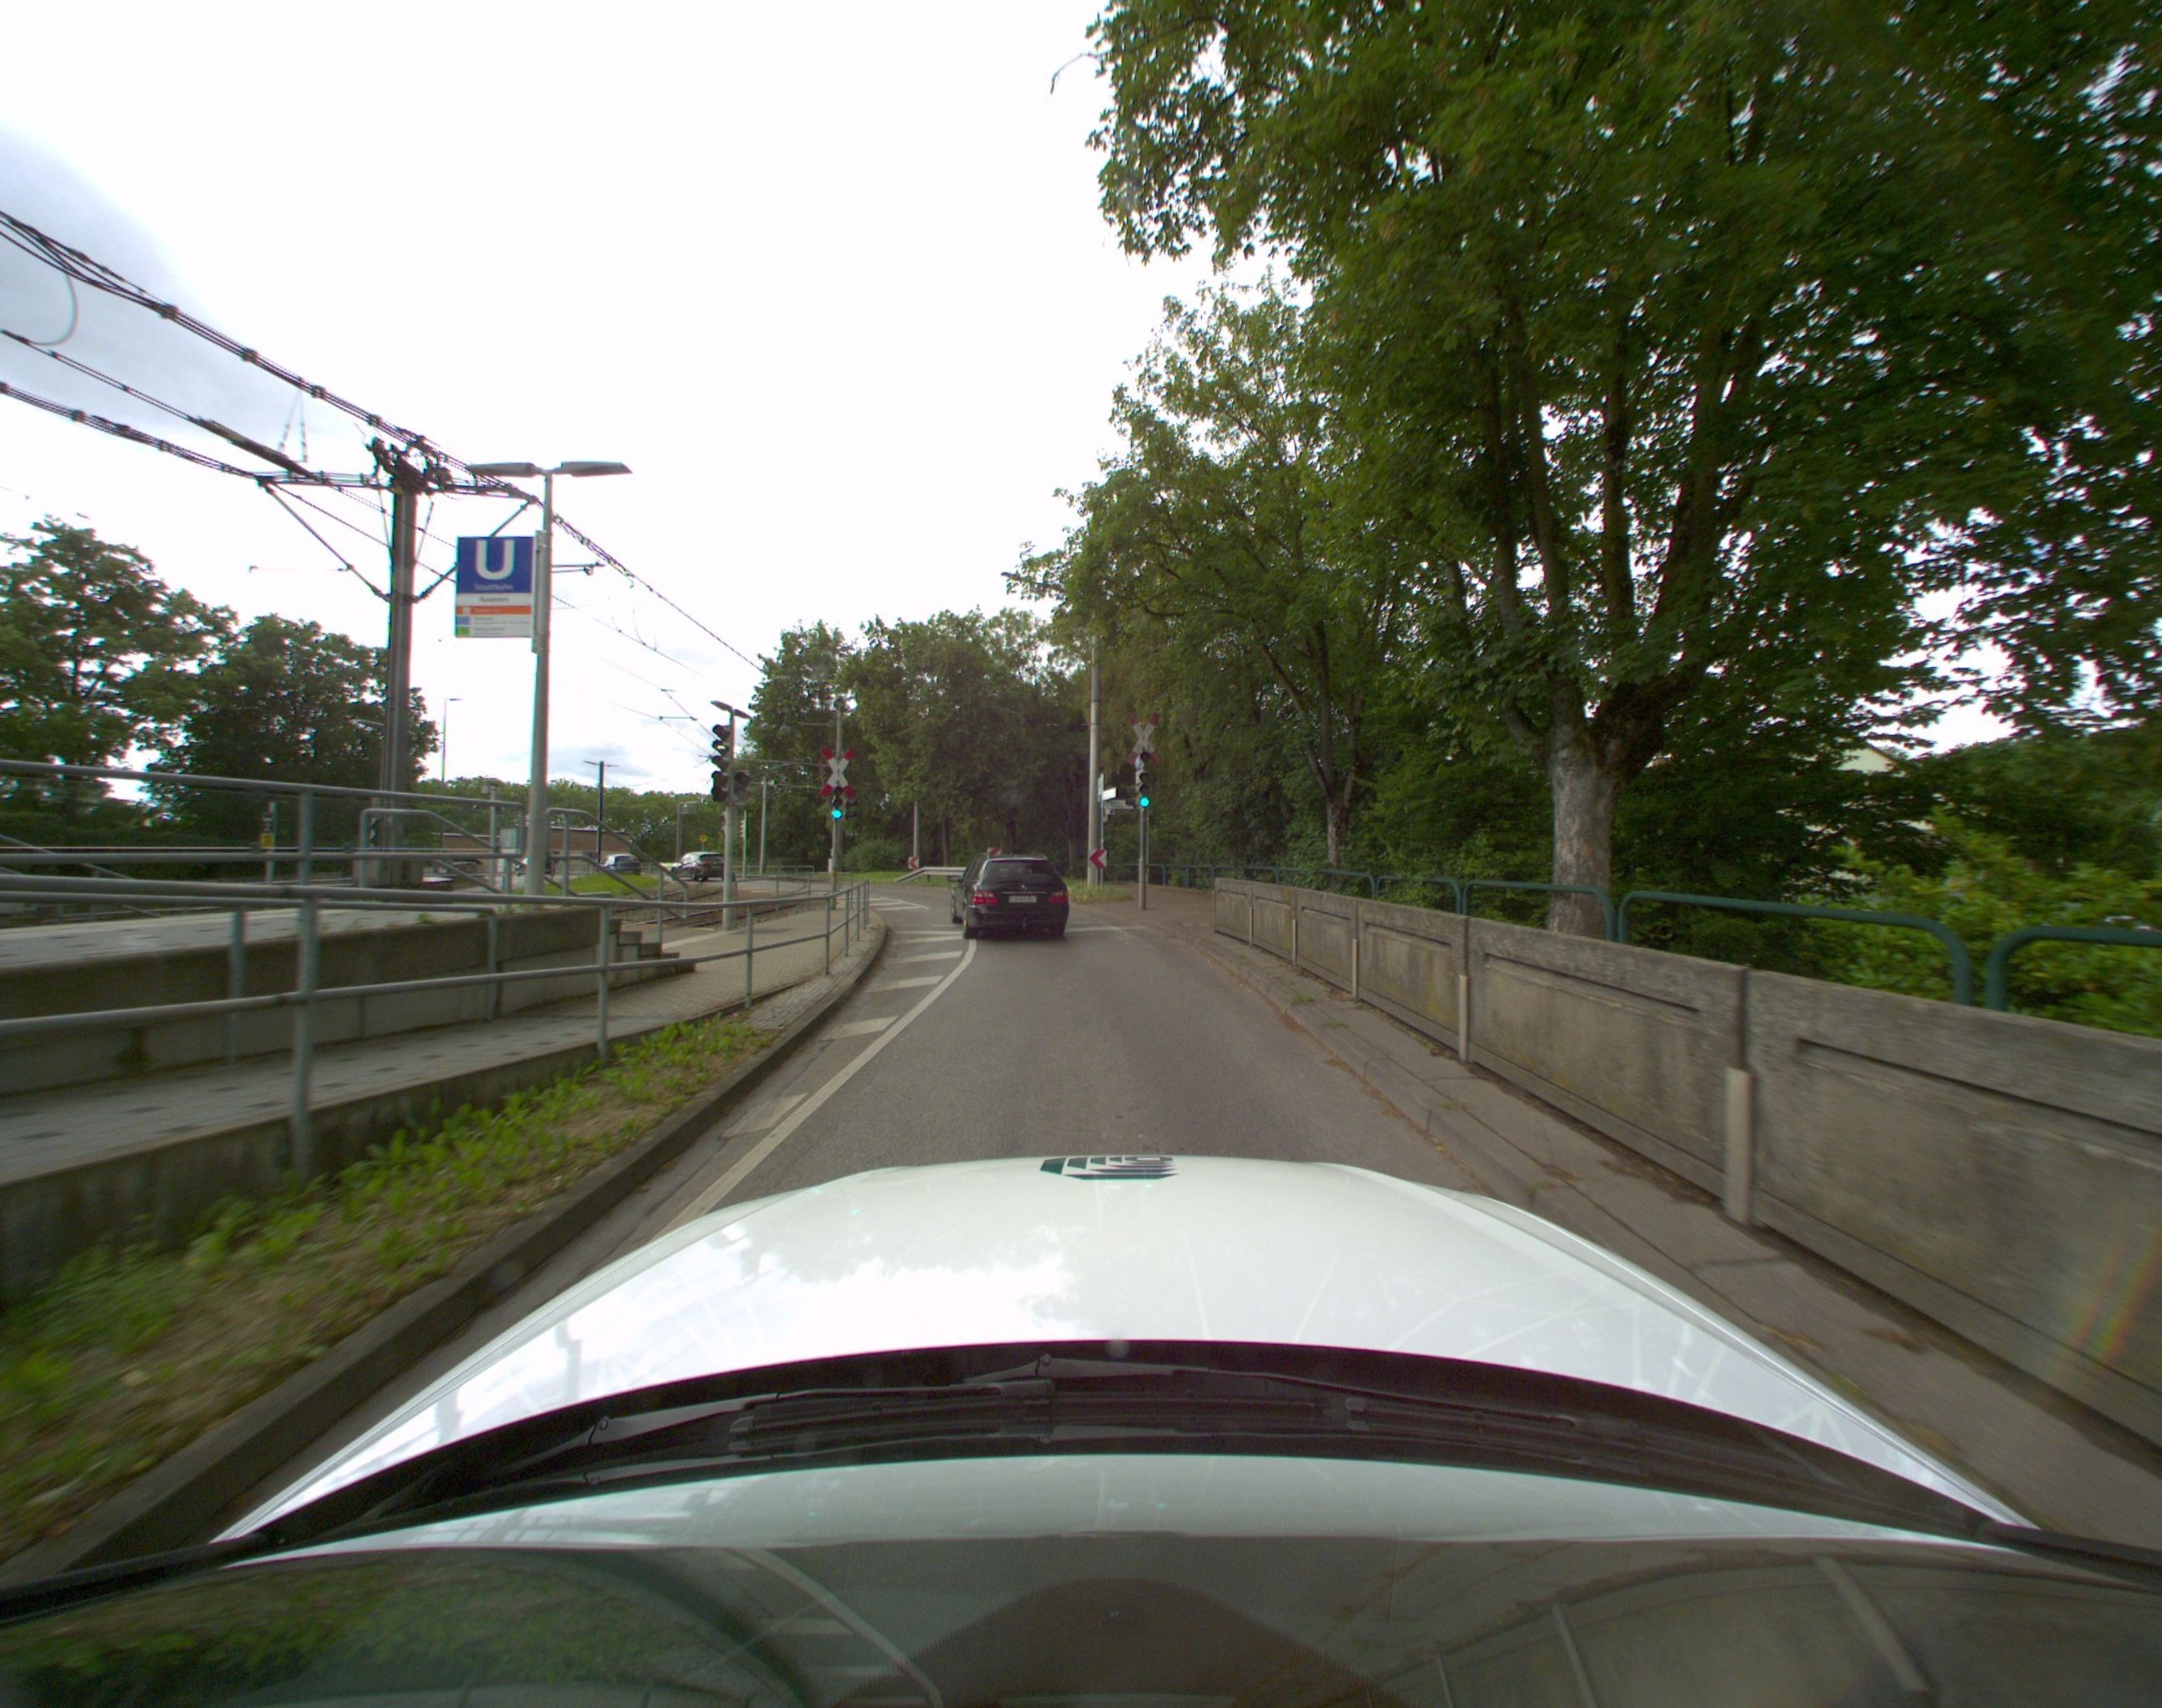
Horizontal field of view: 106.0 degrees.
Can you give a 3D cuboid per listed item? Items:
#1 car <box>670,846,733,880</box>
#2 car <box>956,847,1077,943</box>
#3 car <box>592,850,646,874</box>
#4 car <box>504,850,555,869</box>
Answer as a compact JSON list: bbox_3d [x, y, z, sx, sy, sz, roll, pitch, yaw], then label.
[{"bbox_3d":[-19.859,0.429,42.576,1.798,1.648,3.951,0,0,-44],"label":"car"},{"bbox_3d":[-1.359,0.647,15.529,1.783,1.525,3.983,-1,1,-12],"label":"car"},{"bbox_3d":[-29.031,0.473,51.145,2.012,1.399,3.951,0,0,-45],"label":"car"},{"bbox_3d":[-41.383,0.396,61.093,3.948,1.399,2.013,0,0,37],"label":"car"}]
